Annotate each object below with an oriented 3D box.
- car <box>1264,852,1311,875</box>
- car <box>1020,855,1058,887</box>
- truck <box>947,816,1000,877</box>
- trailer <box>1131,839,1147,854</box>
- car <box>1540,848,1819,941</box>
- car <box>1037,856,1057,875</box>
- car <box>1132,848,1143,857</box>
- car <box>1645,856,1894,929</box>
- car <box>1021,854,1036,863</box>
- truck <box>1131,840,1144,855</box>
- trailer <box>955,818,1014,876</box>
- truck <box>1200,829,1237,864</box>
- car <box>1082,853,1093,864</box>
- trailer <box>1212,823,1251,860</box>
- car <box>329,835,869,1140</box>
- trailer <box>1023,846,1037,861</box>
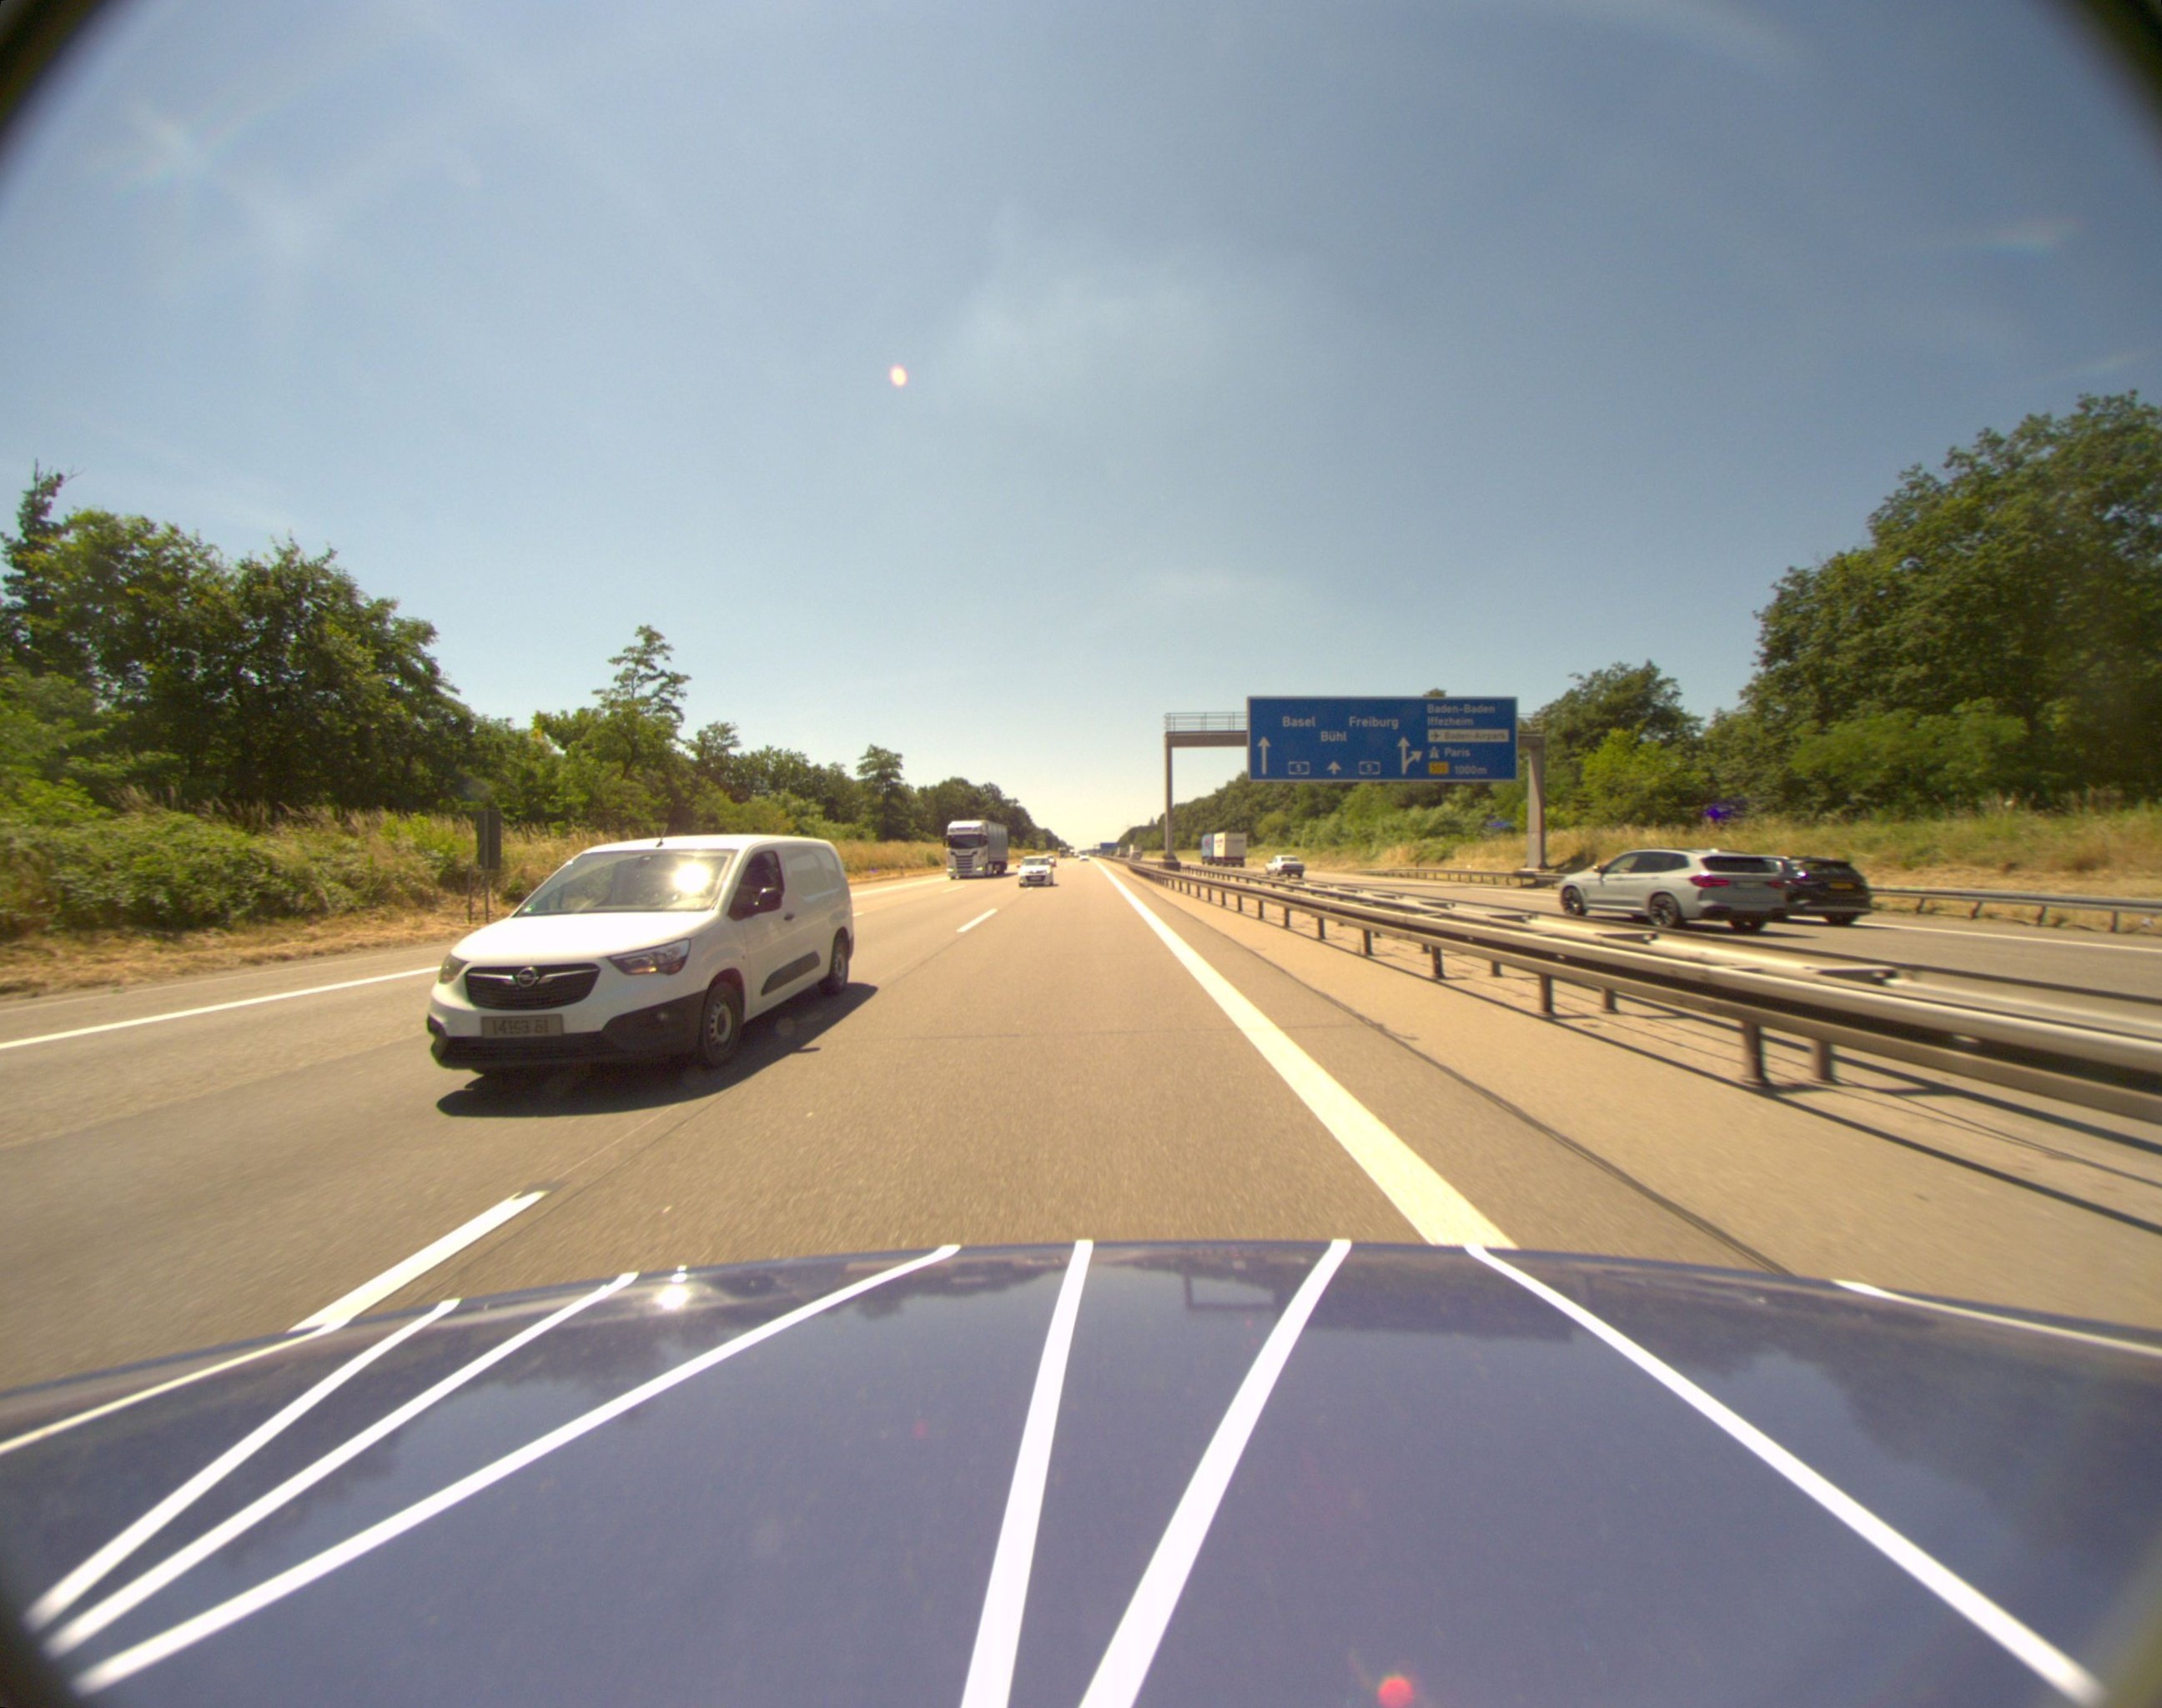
[{"bbox_3d":[13.359,0.605,49.472,1.811,1.388,4.479,1,1,-1],"label":"car"},{"bbox_3d":[-2.008,0.775,37.126,1.581,1.412,3.352,-2,1,1],"label":"car"},{"bbox_3d":[-7.502,-0.510,53.714,2.603,3.980,6.173,-2,1,1],"label":"truck"},{"bbox_3d":[17.384,-2.245,228.364,3.539,4.160,13.604,2,1,0],"label":"trailer"},{"bbox_3d":[12.698,0.730,16.747,1.967,1.708,5.289,1,1,0],"label":"car"},{"bbox_3d":[-3.947,1.338,88.472,1.998,2.002,4.000,-2,1,1],"label":"car"},{"bbox_3d":[11.238,-0.299,152.462,1.836,1.844,5.236,1,1,0],"label":"car"},{"bbox_3d":[17.119,0.853,19.339,1.836,1.545,4.949,1,1,0],"label":"car"},{"bbox_3d":[-7.889,0.634,114.247,1.845,1.275,3.352,-2,1,1],"label":"car"},{"bbox_3d":[17.425,-2.024,235.490,3.539,4.296,7.058,2,1,0],"label":"truck"},{"bbox_3d":[-7.444,-0.569,60.752,2.603,3.980,14.079,-2,1,1],"label":"trailer"},{"bbox_3d":[18.231,-0.977,101.502,3.065,4.532,10.458,0,0,1],"label":"truck"},{"bbox_3d":[1.178,0.767,145.685,1.998,2.002,4.000,-2,1,1],"label":"car"},{"bbox_3d":[18.097,-1.451,91.761,3.065,4.258,8.634,0,0,1],"label":"trailer"},{"bbox_3d":[-3.633,0.799,7.125,1.870,1.807,4.940,-2,1,0],"label":"car"},{"bbox_3d":[-7.876,-0.114,117.511,1.849,2.196,3.197,-2,1,1],"label":"trailer"}]
